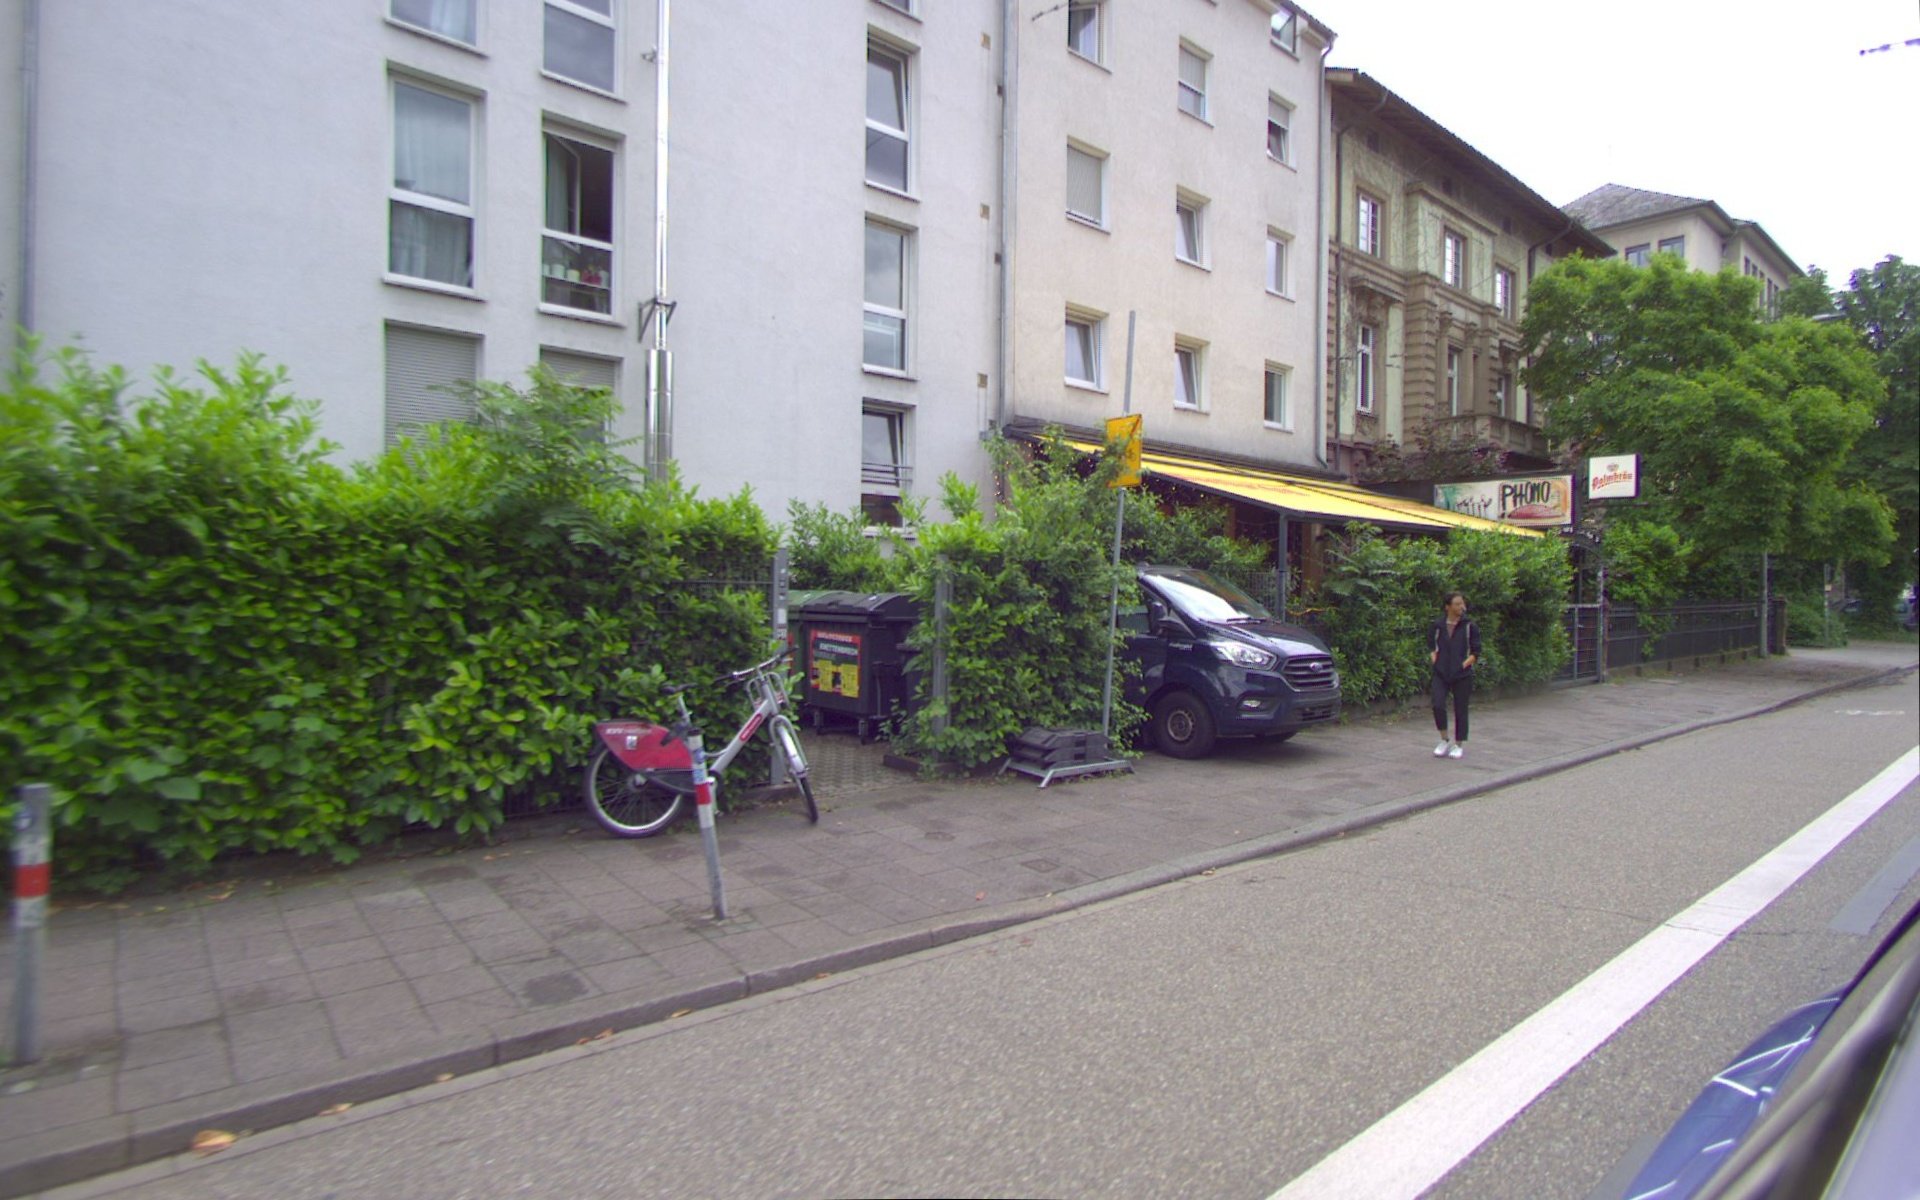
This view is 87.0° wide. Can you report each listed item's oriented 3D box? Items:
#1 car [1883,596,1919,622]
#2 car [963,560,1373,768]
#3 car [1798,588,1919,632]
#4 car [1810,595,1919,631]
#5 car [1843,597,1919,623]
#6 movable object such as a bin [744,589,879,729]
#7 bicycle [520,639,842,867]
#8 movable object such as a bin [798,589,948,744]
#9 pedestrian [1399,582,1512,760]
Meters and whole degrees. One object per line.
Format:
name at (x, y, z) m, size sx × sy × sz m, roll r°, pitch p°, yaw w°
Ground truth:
car at (58.950, 0.553, 61.207) m, size 4.285 × 1.571 × 1.733 m, roll 1°, pitch 0°, yaw 28°
car at (2.068, 0.504, 11.197) m, size 1.790 × 1.831 × 4.292 m, roll 0°, pitch 2°, yaw -38°
car at (40.352, 0.433, 45.386) m, size 3.791 × 1.843 × 1.796 m, roll 1°, pitch 1°, yaw 19°
car at (42.709, 0.573, 47.436) m, size 3.943 × 1.558 × 1.856 m, roll 1°, pitch 1°, yaw 15°
car at (52.591, 0.558, 56.744) m, size 4.272 × 1.420 × 1.745 m, roll 1°, pitch 1°, yaw 17°
movable object such as a bin at (-1.649, 0.598, 11.173) m, size 1.000 × 1.436 × 1.229 m, roll 0°, pitch 0°, yaw -38°
bicycle at (-1.663, 0.845, 6.216) m, size 1.780 × 1.141 × 0.634 m, roll 1°, pitch 2°, yaw -41°
movable object such as a bin at (-0.890, 0.612, 10.198) m, size 1.000 × 1.436 × 1.229 m, roll 0°, pitch 0°, yaw -38°
pedestrian at (5.045, 0.680, 10.297) m, size 0.943 × 1.691 × 0.625 m, roll 1°, pitch 3°, yaw -40°
